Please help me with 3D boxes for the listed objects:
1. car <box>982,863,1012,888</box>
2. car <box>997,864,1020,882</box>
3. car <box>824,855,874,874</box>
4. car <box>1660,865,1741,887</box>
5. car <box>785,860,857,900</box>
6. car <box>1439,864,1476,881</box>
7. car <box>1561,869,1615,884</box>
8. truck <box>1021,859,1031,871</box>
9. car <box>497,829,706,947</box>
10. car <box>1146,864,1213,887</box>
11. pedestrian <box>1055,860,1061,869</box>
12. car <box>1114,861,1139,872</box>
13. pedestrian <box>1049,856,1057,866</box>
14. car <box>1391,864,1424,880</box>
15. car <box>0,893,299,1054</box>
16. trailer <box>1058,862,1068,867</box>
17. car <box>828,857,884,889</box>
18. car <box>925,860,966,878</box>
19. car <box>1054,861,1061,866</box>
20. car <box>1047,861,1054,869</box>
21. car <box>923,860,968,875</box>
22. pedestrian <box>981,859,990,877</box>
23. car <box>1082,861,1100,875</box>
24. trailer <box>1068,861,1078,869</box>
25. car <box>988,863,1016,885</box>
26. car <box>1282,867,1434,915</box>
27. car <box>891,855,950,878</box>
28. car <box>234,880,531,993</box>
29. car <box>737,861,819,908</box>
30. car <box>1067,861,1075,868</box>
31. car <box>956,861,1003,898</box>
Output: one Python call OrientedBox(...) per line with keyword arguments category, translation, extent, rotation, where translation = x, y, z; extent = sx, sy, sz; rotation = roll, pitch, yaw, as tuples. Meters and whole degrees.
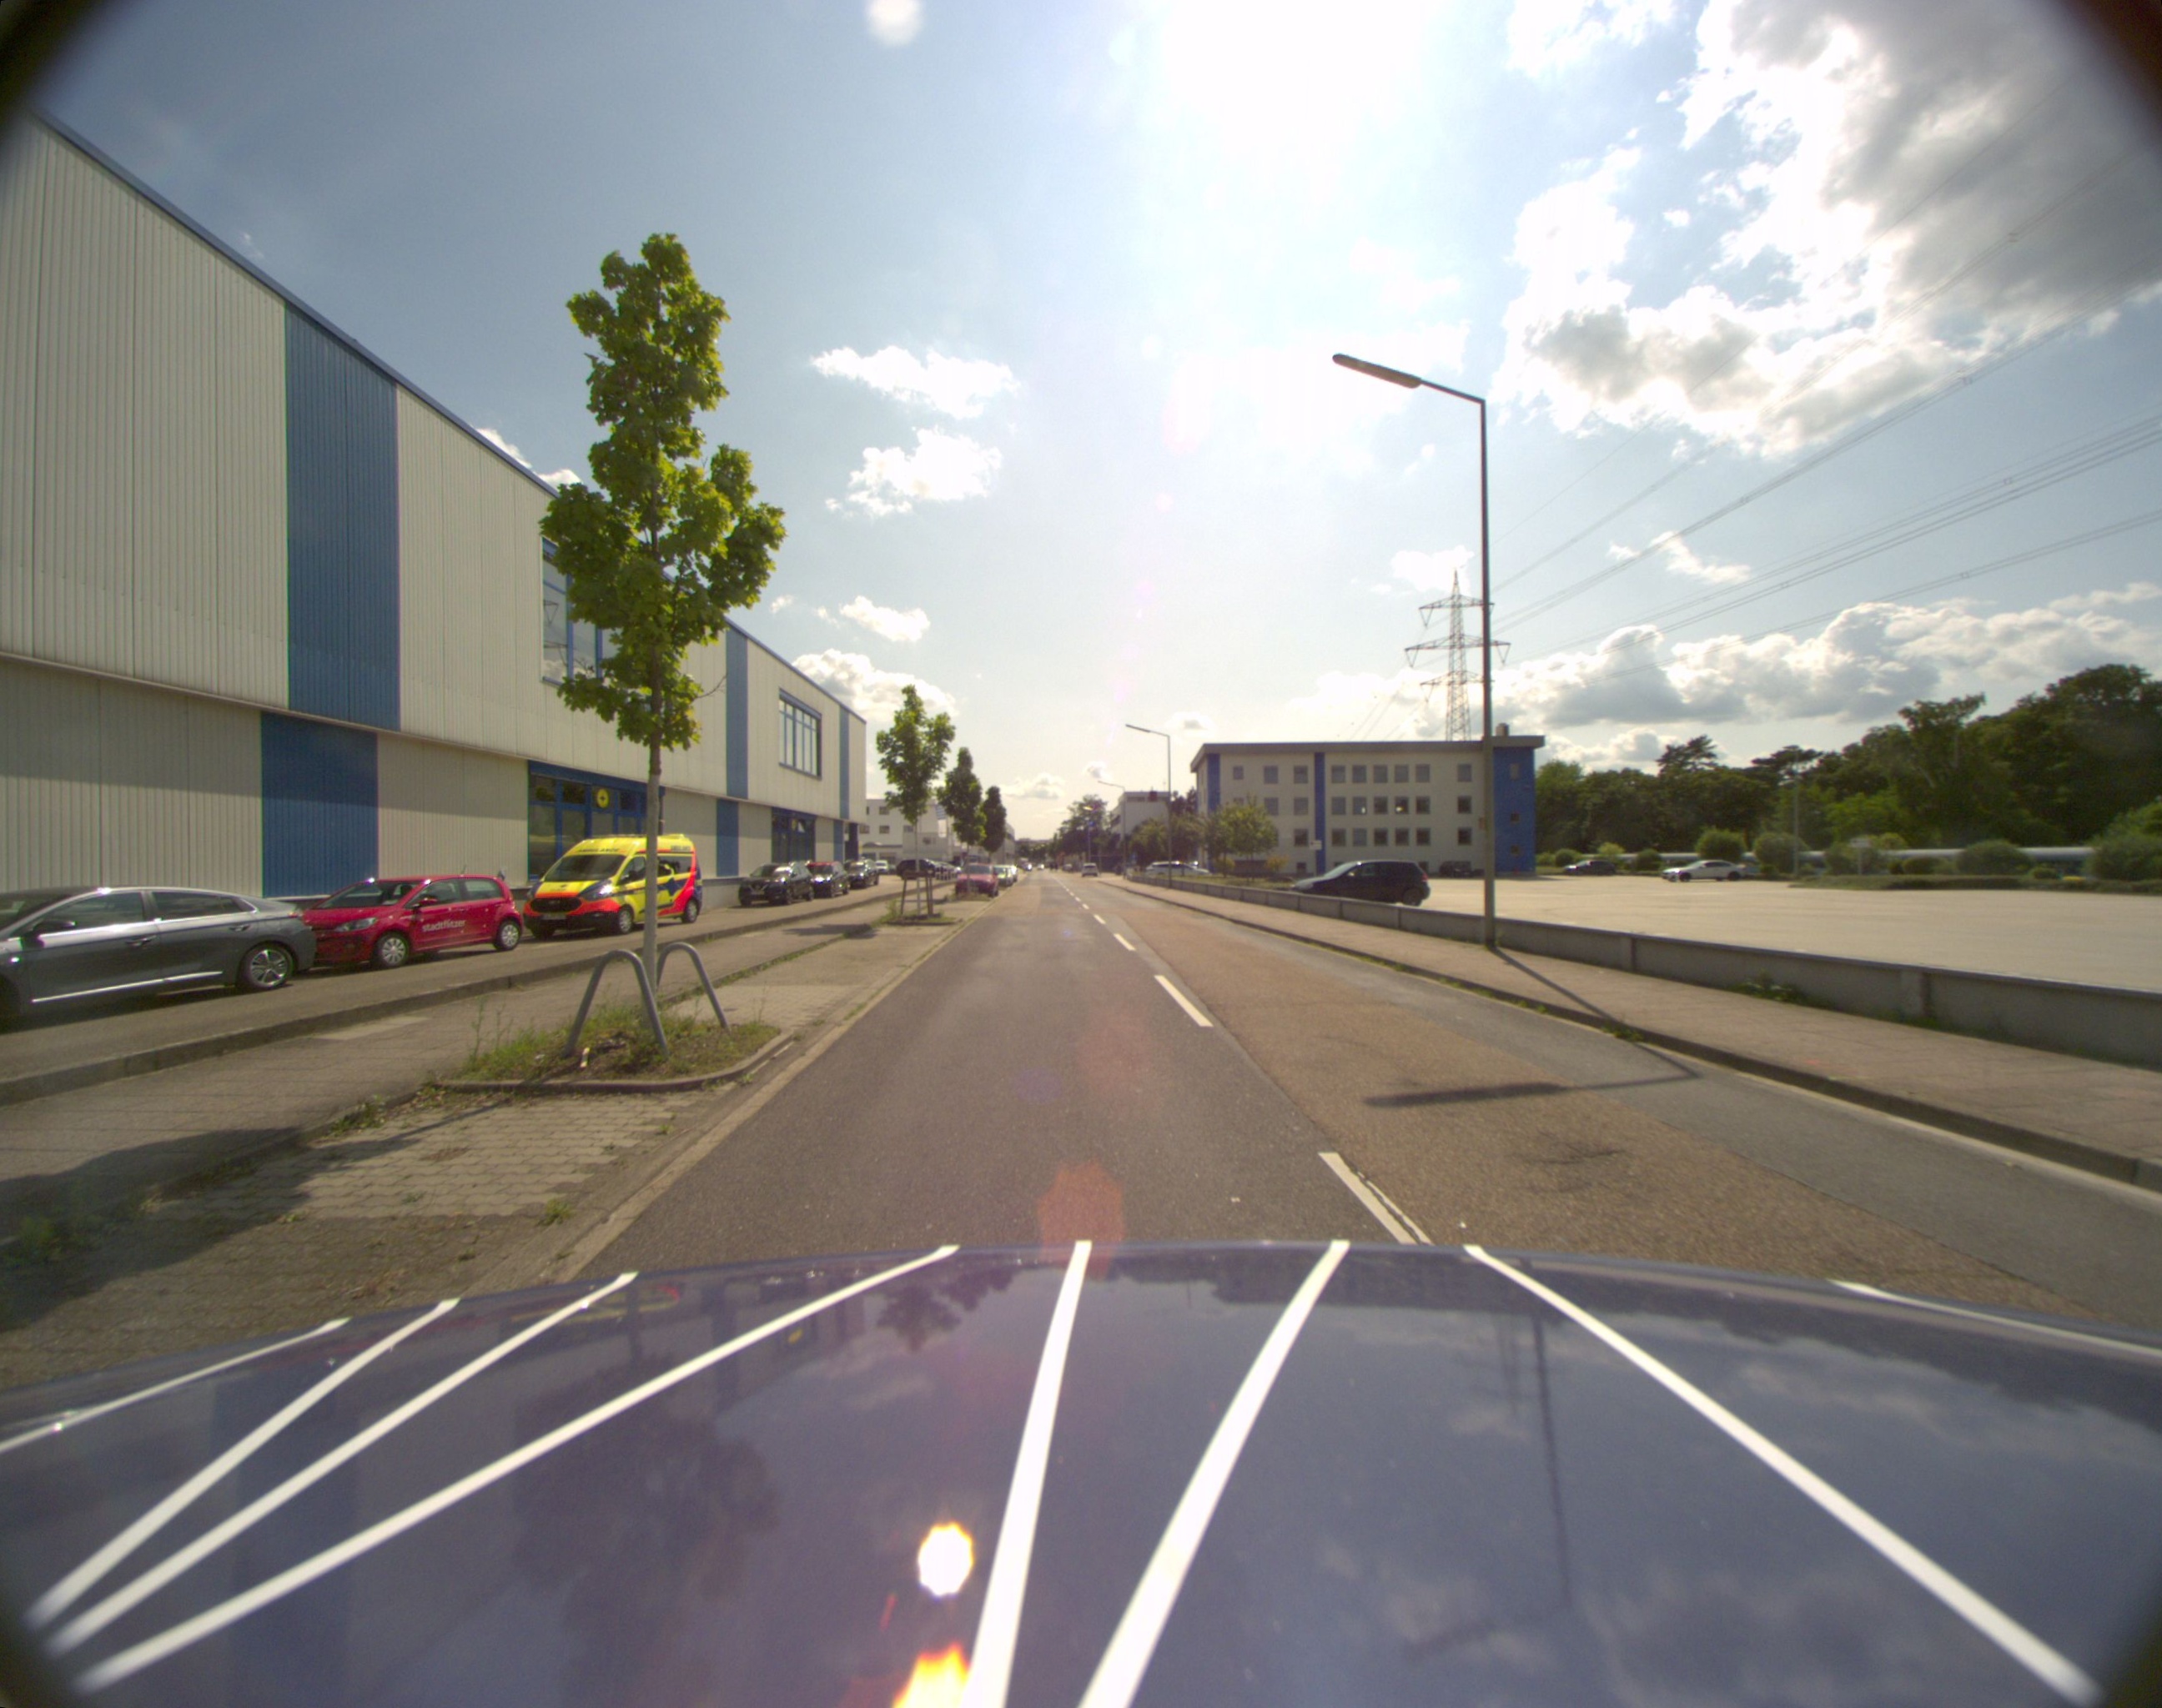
OrientedBox(category="car", translation=(-5.505, 1.407, 50.286), extent=(1.673, 1.511, 3.994), rotation=(-1, 0, -3))
OrientedBox(category="car", translation=(-6.487, 1.661, 68.631), extent=(1.873, 1.511, 4.596), rotation=(-1, 0, -3))
OrientedBox(category="car", translation=(-25.081, 1.114, 82.112), extent=(4.691, 1.925, 2.276), rotation=(-1, 0, -1))
OrientedBox(category="car", translation=(41.755, 1.465, 51.297), extent=(3.820, 1.465, 1.805), rotation=(0, 0, 10))
OrientedBox(category="car", translation=(-11.999, 1.142, 35.397), extent=(1.999, 1.647, 4.288), rotation=(0, 1, -2))
OrientedBox(category="car", translation=(33.545, 1.618, 67.771), extent=(1.566, 1.368, 3.681), rotation=(0, 0, 1))
OrientedBox(category="car", translation=(45.541, 2.008, 68.254), extent=(3.605, 1.244, 1.804), rotation=(0, 0, 6))
OrientedBox(category="truck", translation=(-16.392, 3.275, 226.107), extent=(2.608, 3.207, 8.074), rotation=(-3, 0, -4))
OrientedBox(category="car", translation=(-11.381, 0.711, 18.622), extent=(1.929, 2.449, 5.258), rotation=(-1, 0, -3))
OrientedBox(category="car", translation=(7.399, 1.604, 57.520), extent=(4.768, 1.593, 2.000), rotation=(-1, 0, -2))
OrientedBox(category="pedestrian", translation=(-4.247, 1.931, 140.683), extent=(0.860, 1.797, 1.003), rotation=(0, 0, -25))
OrientedBox(category="car", translation=(6.953, 1.914, 115.852), extent=(3.658, 1.698, 1.878), rotation=(0, 0, -3))
OrientedBox(category="pedestrian", translation=(-5.161, 1.294, 139.975), extent=(0.994, 1.940, 1.089), rotation=(0, 0, -26))
OrientedBox(category="car", translation=(29.543, 1.639, 68.837), extent=(1.566, 1.368, 3.681), rotation=(0, -1, 1))
OrientedBox(category="car", translation=(-11.129, 1.233, 8.188), extent=(1.500, 1.395, 3.853), rotation=(-1, 0, -3))
OrientedBox(category="trailer", translation=(-5.085, 2.962, 209.121), extent=(2.458, 1.157, 6.051), rotation=(-2, 0, -4))
OrientedBox(category="car", translation=(-12.270, 0.995, 41.701), extent=(1.832, 1.504, 4.638), rotation=(0, 2, -2))
OrientedBox(category="car", translation=(-13.274, 1.417, 74.560), extent=(3.817, 1.670, 1.791), rotation=(-1, 0, -3))
OrientedBox(category="car", translation=(-7.098, 2.922, 227.256), extent=(1.715, 1.459, 4.628), rotation=(-3, 0, -4))
OrientedBox(category="car", translation=(-10.465, 3.602, 259.519), extent=(2.080, 2.527, 5.821), rotation=(-3, 0, -5))
OrientedBox(category="car", translation=(-12.833, 1.276, 72.218), extent=(3.998, 1.411, 2.000), rotation=(0, -1, -2))
OrientedBox(category="pedestrian", translation=(-9.271, 1.336, 73.604), extent=(0.771, 1.746, 0.787), rotation=(2, 0, -3))
OrientedBox(category="car", translation=(1.274, 1.720, 95.414), extent=(1.873, 1.698, 4.751), rotation=(-1, 0, -3))
OrientedBox(category="trailer", translation=(-1.551, 2.187, 150.348), extent=(1.772, 1.430, 4.335), rotation=(-3, 0, -3))
OrientedBox(category="car", translation=(-5.741, 1.424, 55.797), extent=(1.840, 1.511, 4.460), rotation=(-1, 0, -3))
OrientedBox(category="car", translation=(8.448, 1.109, 23.371), extent=(3.998, 1.368, 1.803), rotation=(0, 0, -3))
OrientedBox(category="car", translation=(-12.064, 0.968, 57.311), extent=(4.096, 1.676, 1.999), rotation=(0, 0, -4))
OrientedBox(category="car", translation=(-11.432, 1.248, 12.848), extent=(1.577, 1.482, 3.815), rotation=(-1, 0, -3))
OrientedBox(category="car", translation=(-11.871, 1.130, 30.050), extent=(1.719, 1.642, 4.213), rotation=(0, 0, -2))
OrientedBox(category="car", translation=(-2.215, 2.338, 166.940), extent=(1.678, 1.447, 4.512), rotation=(-2, 0, -3))
OrientedBox(category="car", translation=(-4.894, 1.185, 37.092), extent=(1.759, 1.641, 4.677), rotation=(-1, 0, -1))
